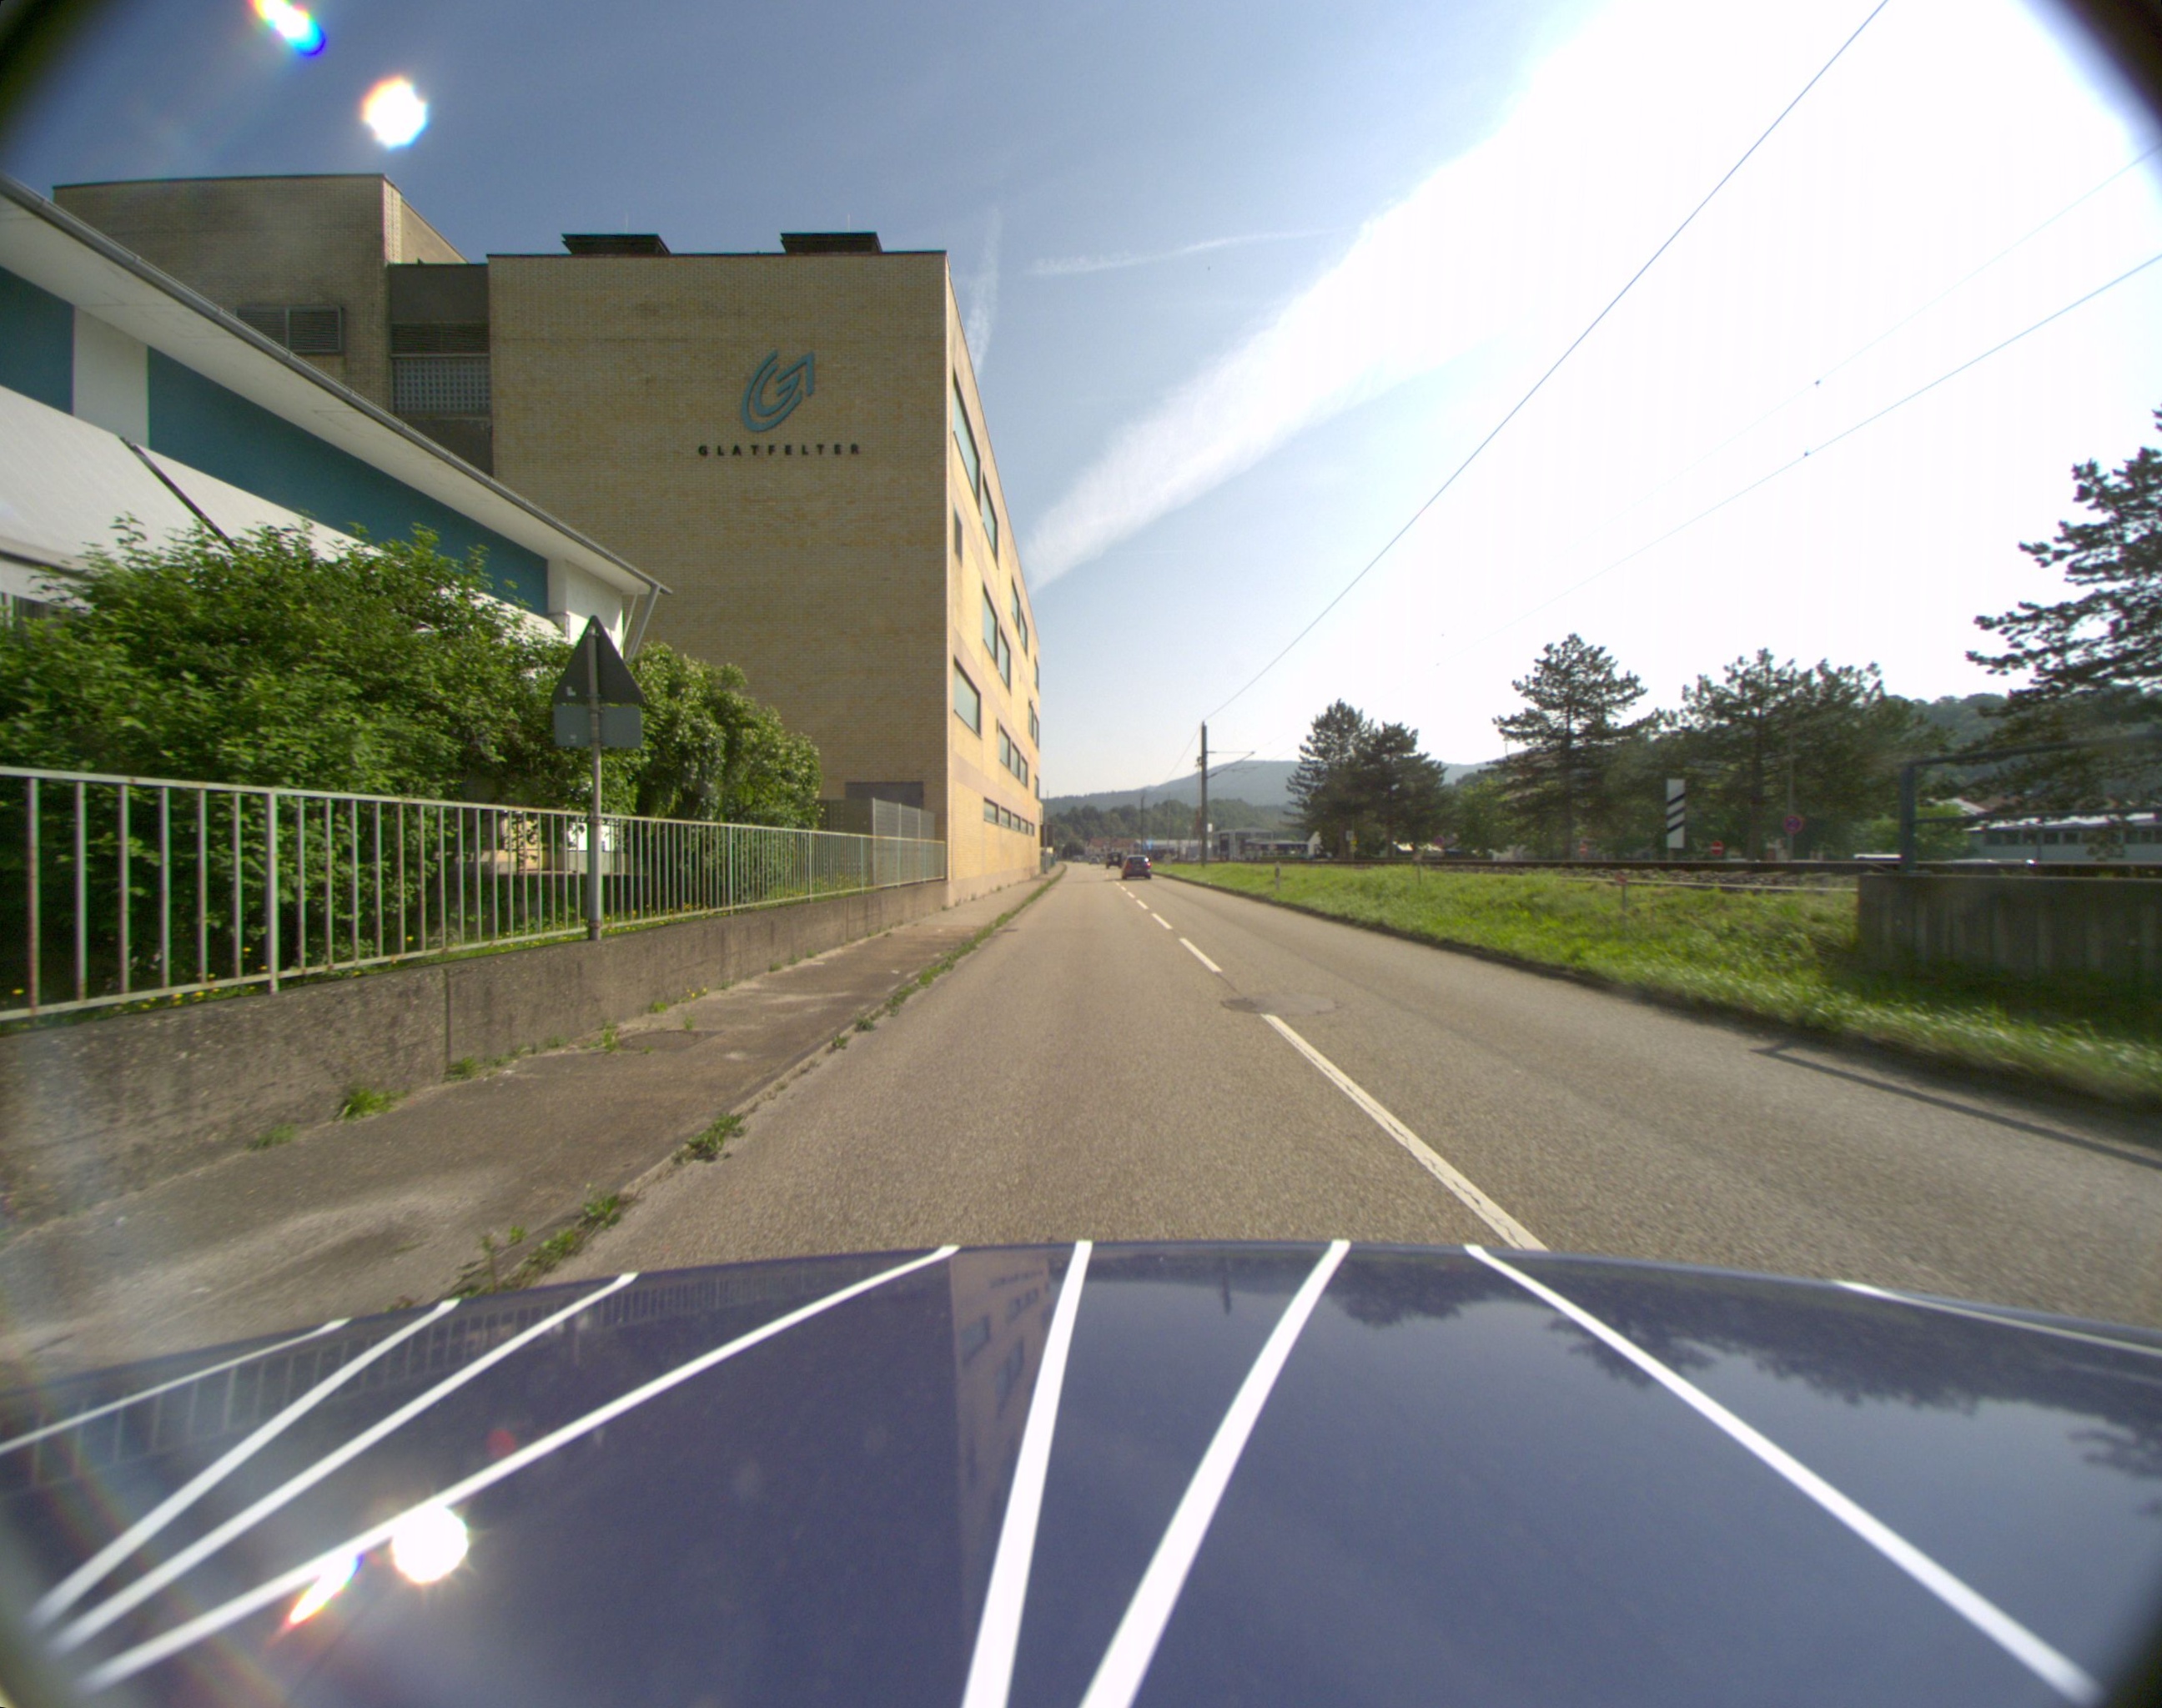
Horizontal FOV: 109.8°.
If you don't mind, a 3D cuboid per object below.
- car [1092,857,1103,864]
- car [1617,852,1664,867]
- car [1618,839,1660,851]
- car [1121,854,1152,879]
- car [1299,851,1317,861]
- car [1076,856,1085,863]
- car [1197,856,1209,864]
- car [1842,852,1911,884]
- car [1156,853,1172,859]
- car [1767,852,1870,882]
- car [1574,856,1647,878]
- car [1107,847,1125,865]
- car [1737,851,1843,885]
[{"bbox_3d":[3.050,1.194,142.468,1.772,1.397,4.296,0,0,-1],"label":"car"},{"bbox_3d":[59.672,0.555,81.147,1.684,1.539,3.997,0,0,-9],"label":"car"},{"bbox_3d":[70.951,-1.125,96.622,1.472,1.444,3.990,0,0,-32],"label":"car"},{"bbox_3d":[3.547,0.747,49.200,1.735,1.517,4.092,-1,0,1],"label":"car"},{"bbox_3d":[29.855,0.291,99.983,1.394,1.344,2.893,0,0,-4],"label":"car"},{"bbox_3d":[-0.220,1.428,198.053,1.912,1.591,4.567,-1,1,-6],"label":"car"},{"bbox_3d":[27.688,1.362,172.566,1.523,1.679,4.367,-2,0,-7],"label":"car"},{"bbox_3d":[34.110,0.569,32.672,1.560,1.317,3.865,0,0,39],"label":"car"},{"bbox_3d":[22.635,0.536,206.295,3.968,1.519,1.662,-3,0,-7],"label":"car"},{"bbox_3d":[39.047,0.641,40.270,1.692,1.498,3.841,0,0,-43],"label":"car"},{"bbox_3d":[36.155,0.853,51.917,1.692,1.435,3.841,0,0,-43],"label":"car"},{"bbox_3d":[4.036,0.240,89.328,1.763,2.066,4.807,-2,0,-1],"label":"car"},{"bbox_3d":[36.007,0.671,38.637,1.692,1.633,3.841,0,0,-43],"label":"car"}]
